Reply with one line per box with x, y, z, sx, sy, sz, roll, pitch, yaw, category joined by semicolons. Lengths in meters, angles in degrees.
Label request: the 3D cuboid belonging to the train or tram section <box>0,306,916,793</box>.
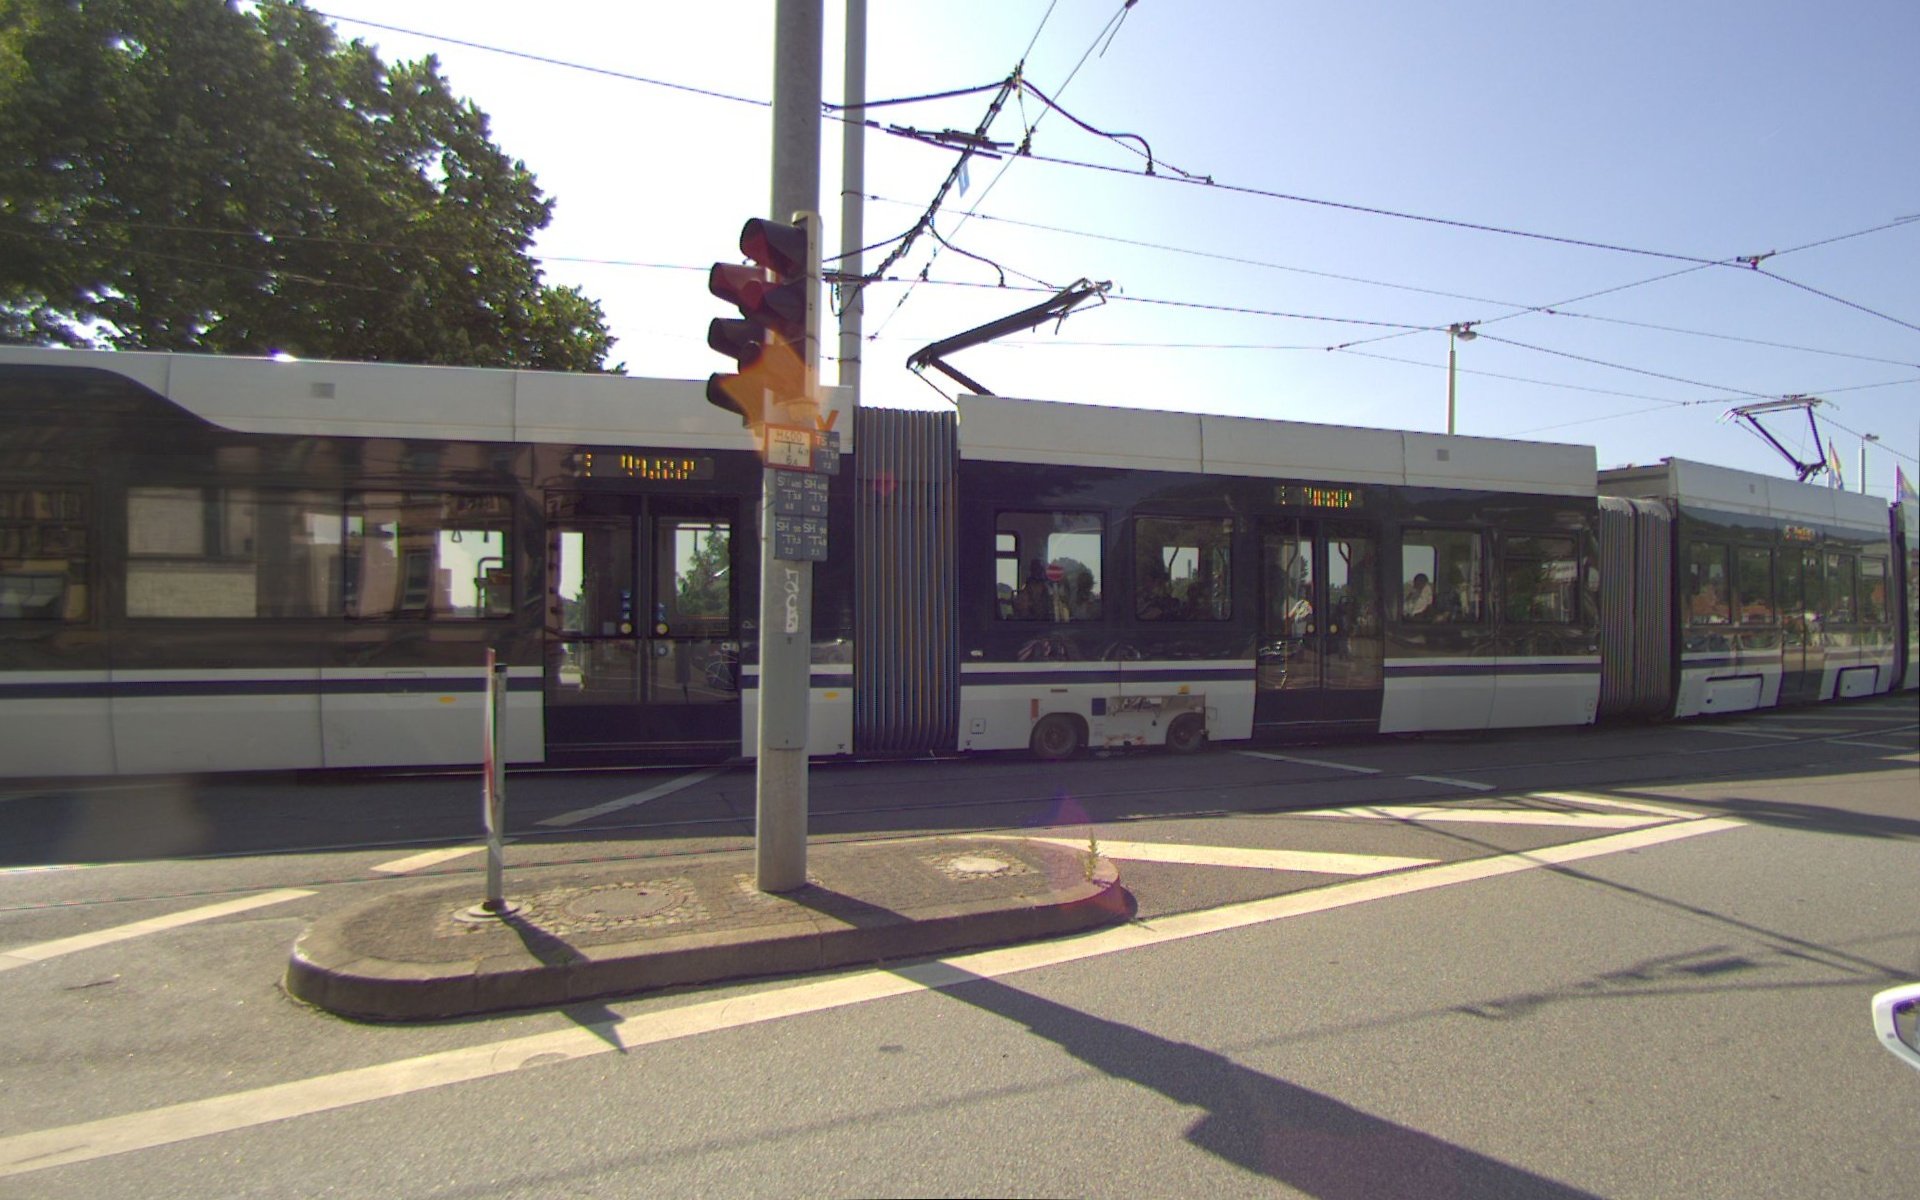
-5.064;-0.360;9.676;9.007;3.827;2.540;0;-1;-11;train or tram section

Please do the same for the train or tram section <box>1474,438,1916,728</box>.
12.350;-0.177;16.441;9.509;3.730;2.392;0;-1;-31;train or tram section

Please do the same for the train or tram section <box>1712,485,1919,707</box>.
19.955;-0.014;21.846;11.735;3.827;2.453;0;-1;-36;train or tram section

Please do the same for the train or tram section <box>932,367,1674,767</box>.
4.323;-0.285;12.335;9.027;3.827;2.535;0;-1;-19;train or tram section
